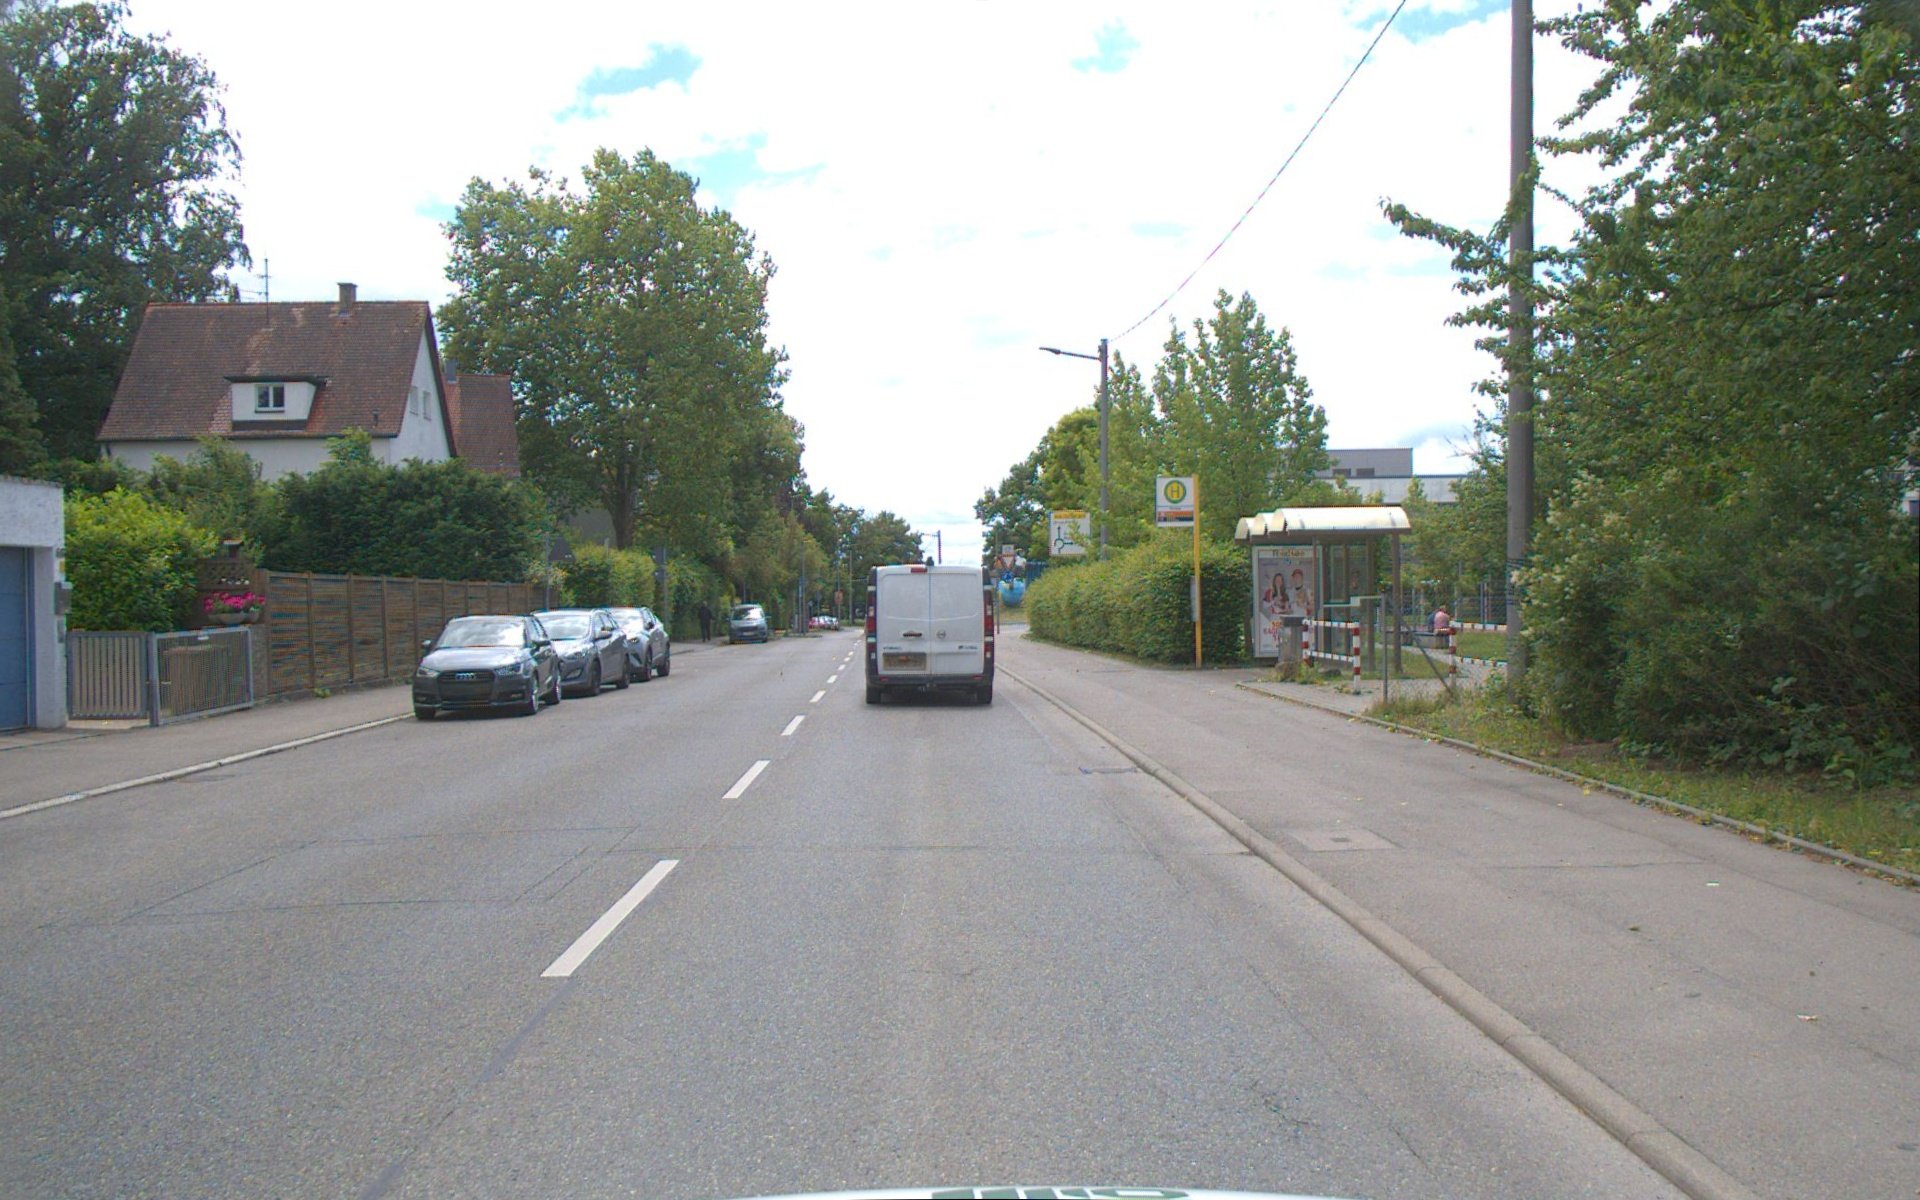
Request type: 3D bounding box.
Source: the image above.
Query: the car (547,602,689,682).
[{"bbox_3d":[-7.171,0.841,35.169,1.953,1.505,4.647,-2,0,0],"label":"car"}]

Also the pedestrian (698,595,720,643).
[{"bbox_3d":[-11.006,0.836,72.488,0.855,2.049,1.039,-2,0,-7],"label":"pedestrian"}]

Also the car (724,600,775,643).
[{"bbox_3d":[-9.446,0.929,73.921,2.093,1.803,4.455,1,0,-9],"label":"car"}]

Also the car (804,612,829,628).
[{"bbox_3d":[-14.170,1.991,163.434,2.026,1.410,4.036,-1,1,-12],"label":"car"}]

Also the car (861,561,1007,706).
[{"bbox_3d":[-0.479,0.453,25.165,1.994,1.979,4.990,1,0,-3],"label":"car"}]

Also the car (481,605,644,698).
[{"bbox_3d":[-6.989,0.860,29.536,1.829,1.484,4.488,-1,0,0],"label":"car"}]

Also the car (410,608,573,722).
[{"bbox_3d":[-6.906,0.901,24.731,1.619,1.452,3.901,-2,1,-6],"label":"car"}]
